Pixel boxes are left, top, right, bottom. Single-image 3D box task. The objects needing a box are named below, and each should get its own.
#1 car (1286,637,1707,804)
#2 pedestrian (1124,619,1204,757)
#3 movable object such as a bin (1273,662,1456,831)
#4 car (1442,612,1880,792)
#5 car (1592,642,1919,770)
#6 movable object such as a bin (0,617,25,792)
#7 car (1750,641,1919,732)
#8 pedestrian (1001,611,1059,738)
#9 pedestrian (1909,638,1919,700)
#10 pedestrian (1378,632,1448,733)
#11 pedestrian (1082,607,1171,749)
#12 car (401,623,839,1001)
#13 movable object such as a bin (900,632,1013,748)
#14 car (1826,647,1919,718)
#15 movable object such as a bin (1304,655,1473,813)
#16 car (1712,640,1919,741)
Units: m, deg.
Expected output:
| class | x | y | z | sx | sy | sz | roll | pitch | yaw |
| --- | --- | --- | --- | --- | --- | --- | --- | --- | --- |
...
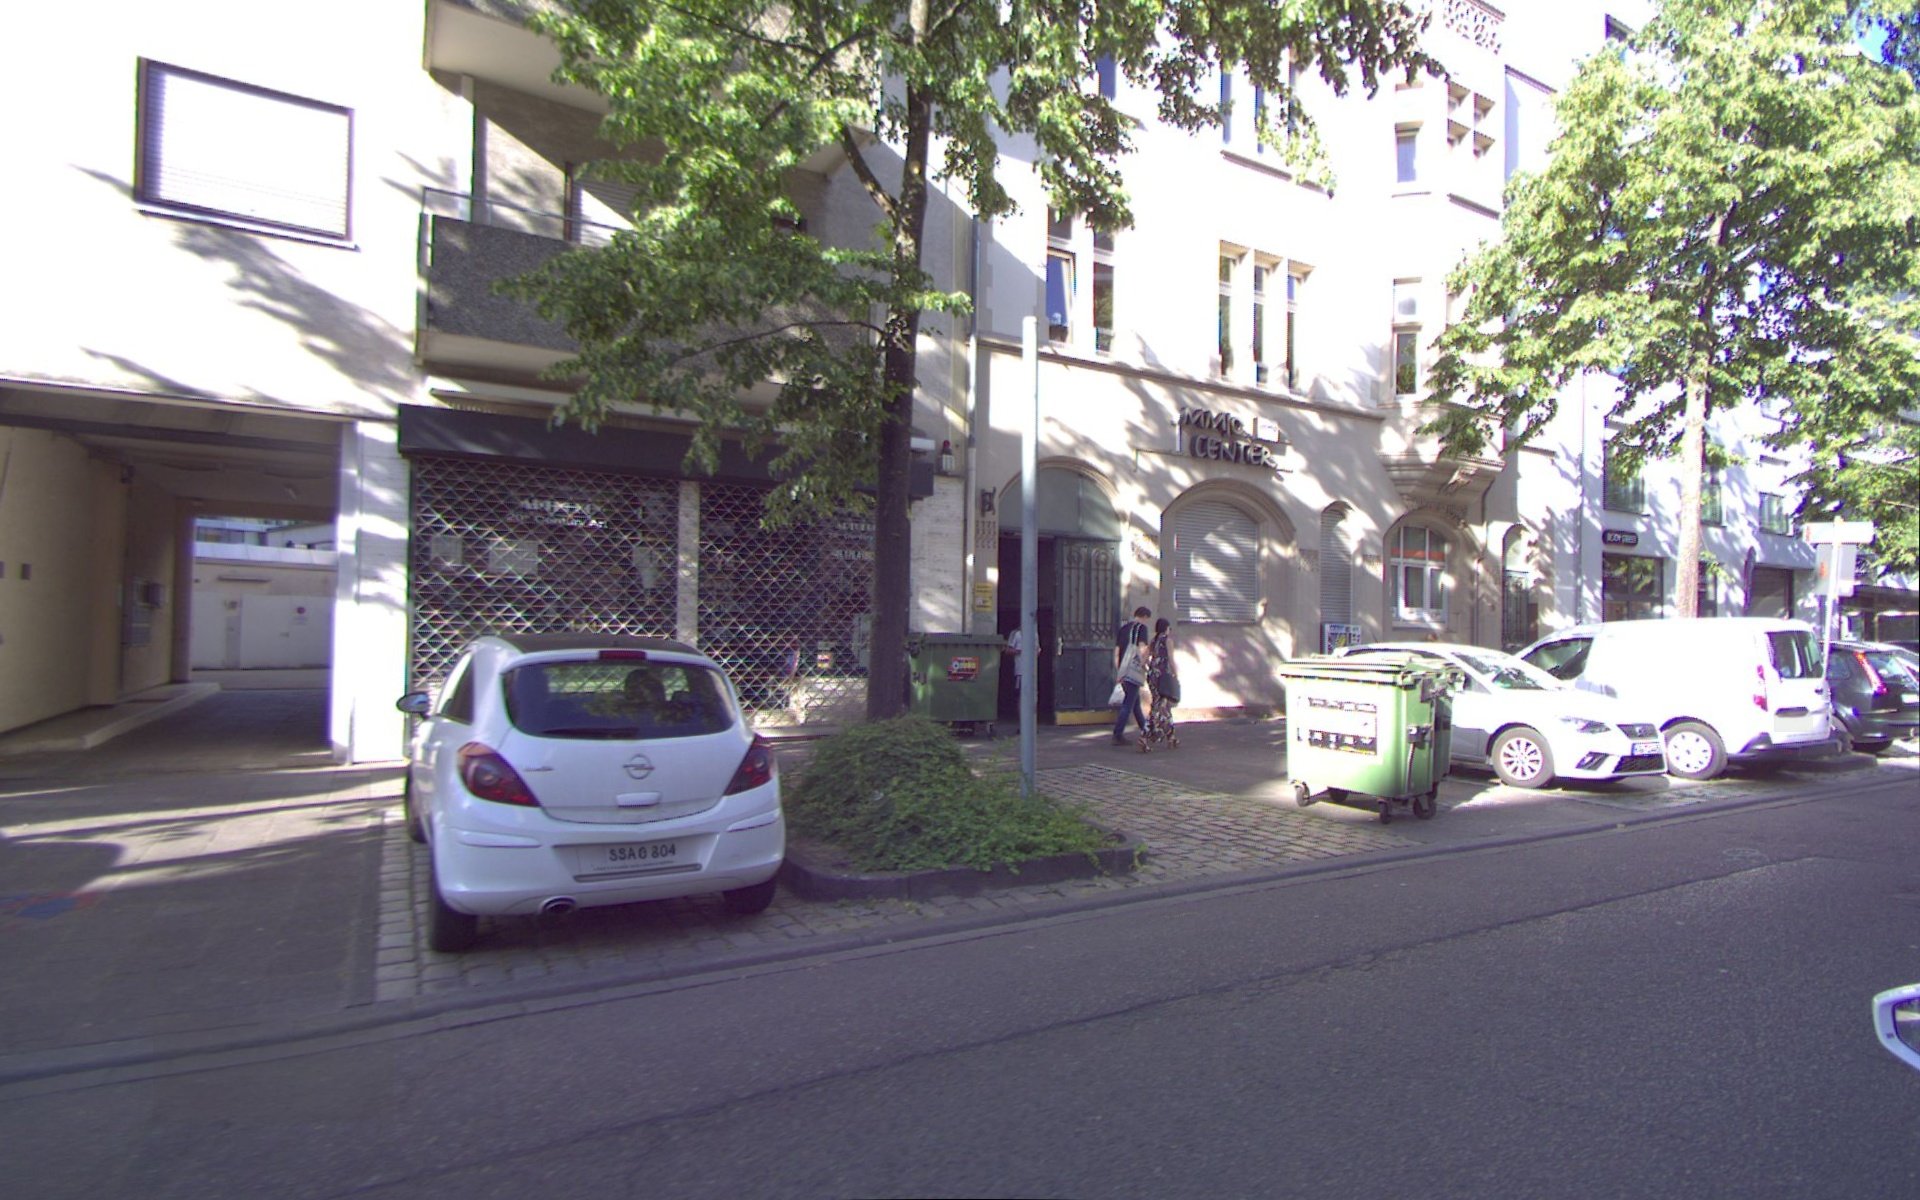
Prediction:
| class | x | y | z | sx | sy | sz | roll | pitch | yaw |
| --- | --- | --- | --- | --- | --- | --- | --- | --- | --- |
| car | 5.980 | 1.229 | 11.681 | 1.864 | 1.483 | 3.962 | 2 | -1 | -29 |
| pedestrian | 2.577 | 1.095 | 12.721 | 0.719 | 1.648 | 0.562 | 2 | 2 | -32 |
| movable object such as a bin | 3.512 | 1.217 | 8.795 | 0.860 | 1.319 | 1.231 | 2 | -2 | -31 |
| car | 8.571 | 1.099 | 12.670 | 2.014 | 1.860 | 4.087 | 2 | -1 | -29 |
| car | 11.842 | 1.448 | 14.944 | 1.770 | 1.579 | 3.783 | 2 | -2 | -29 |
| movable object such as a bin | -8.427 | 0.840 | 7.875 | 1.335 | 1.433 | 1.073 | 2 | -2 | -29 |
| car | 17.935 | 1.623 | 18.976 | 1.956 | 1.591 | 4.347 | 2 | -2 | -29 |
| pedestrian | 0.955 | 1.003 | 13.715 | 0.631 | 1.694 | 0.432 | 2 | -1 | -28 |
| pedestrian | 28.316 | 2.019 | 29.255 | 0.733 | 1.821 | 0.699 | 1 | -2 | -18 |
| pedestrian | 7.093 | 1.273 | 15.732 | 0.832 | 1.514 | 0.590 | 2 | 1 | -29 |
| pedestrian | 2.207 | 1.015 | 13.378 | 0.755 | 1.790 | 0.770 | 2 | 2 | -32 |
| car | -2.319 | 0.919 | 6.134 | 1.691 | 1.483 | 3.757 | 2 | -1 | -32 |
| movable object such as a bin | -0.048 | 1.149 | 13.095 | 1.211 | 1.416 | 0.818 | 2 | -2 | -28 |
| car | 21.708 | 1.806 | 21.679 | 1.959 | 1.478 | 4.221 | 2 | -2 | -33 |
| movable object such as a bin | 4.097 | 1.233 | 9.657 | 0.921 | 1.363 | 1.186 | 2 | -2 | -31 |
| car | 16.078 | 1.542 | 17.537 | 1.923 | 1.591 | 4.347 | 2 | -2 | -29 |
